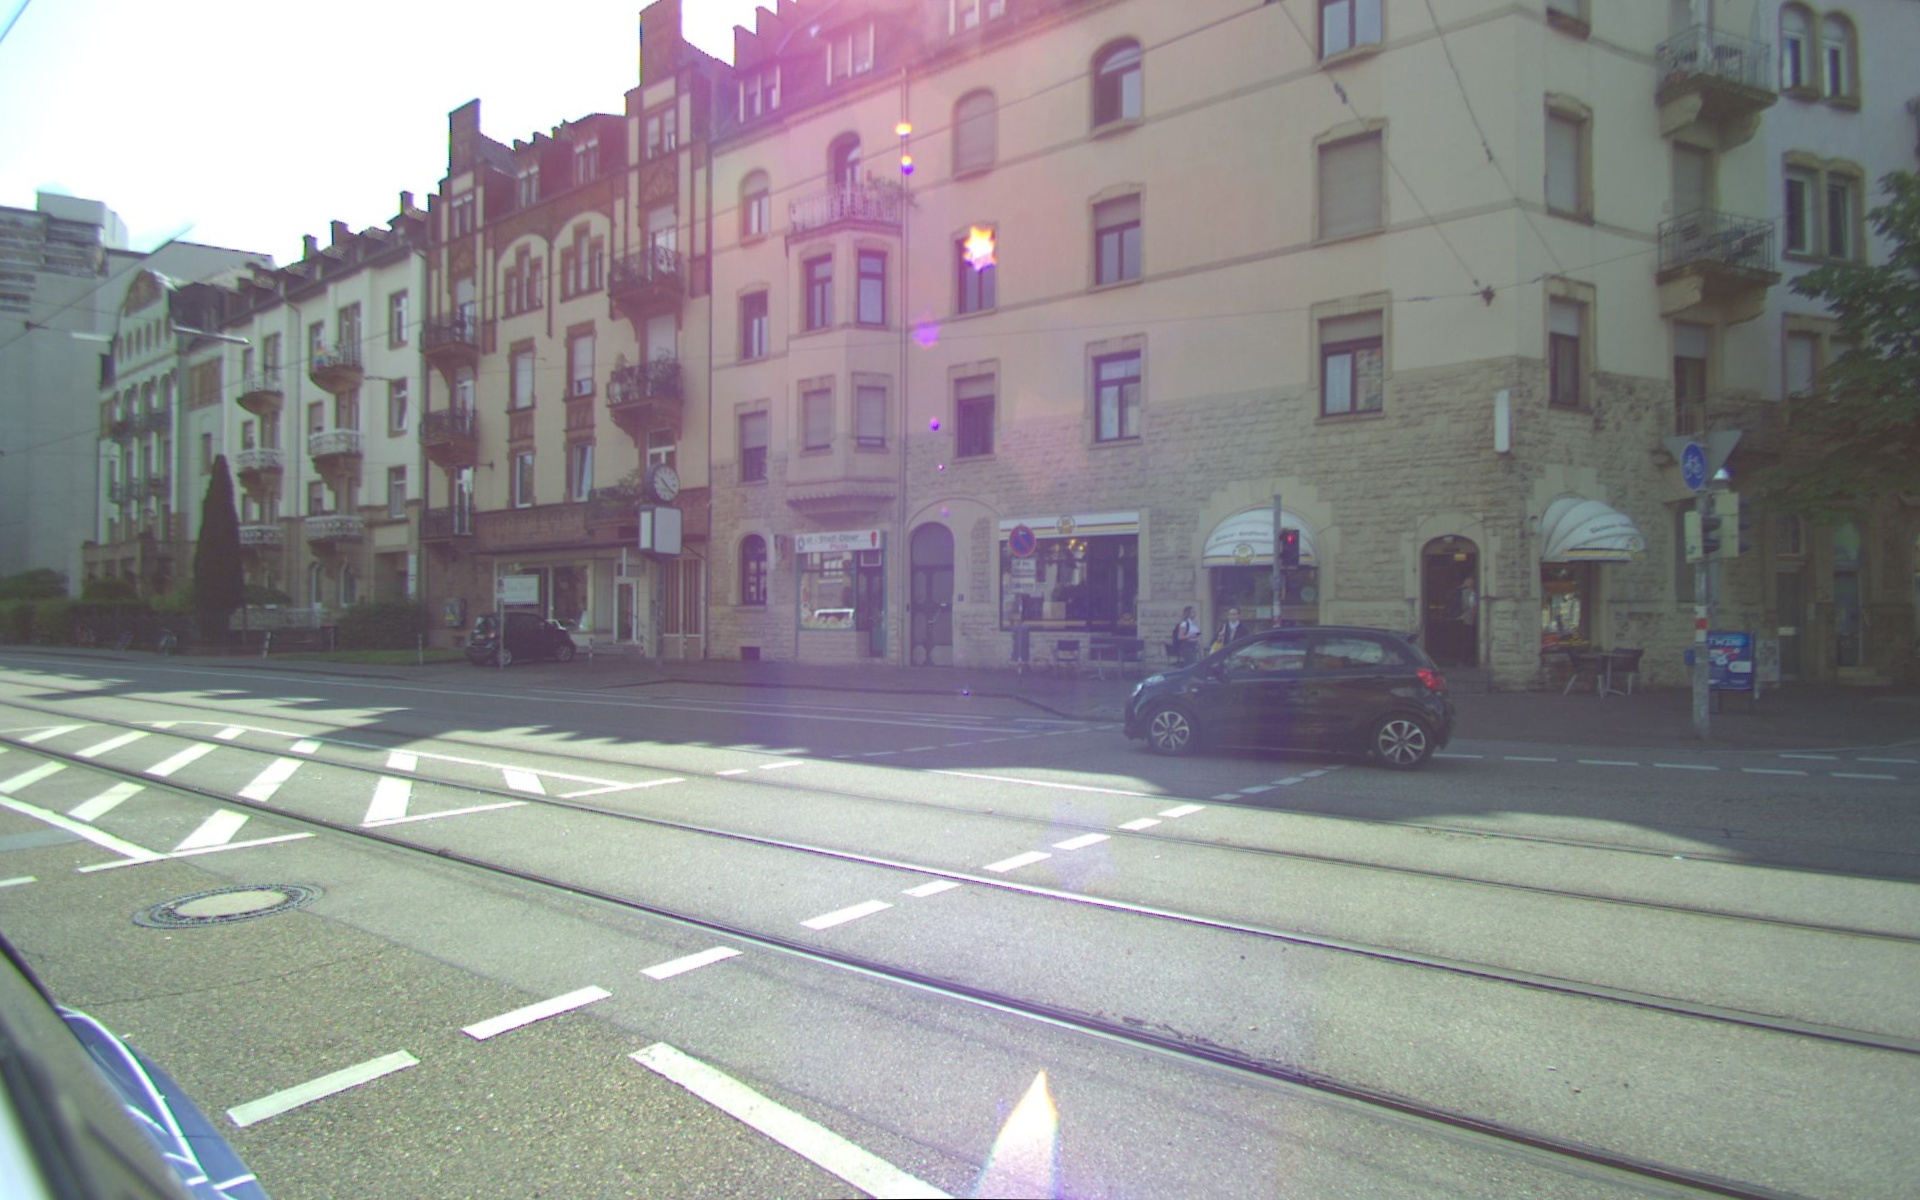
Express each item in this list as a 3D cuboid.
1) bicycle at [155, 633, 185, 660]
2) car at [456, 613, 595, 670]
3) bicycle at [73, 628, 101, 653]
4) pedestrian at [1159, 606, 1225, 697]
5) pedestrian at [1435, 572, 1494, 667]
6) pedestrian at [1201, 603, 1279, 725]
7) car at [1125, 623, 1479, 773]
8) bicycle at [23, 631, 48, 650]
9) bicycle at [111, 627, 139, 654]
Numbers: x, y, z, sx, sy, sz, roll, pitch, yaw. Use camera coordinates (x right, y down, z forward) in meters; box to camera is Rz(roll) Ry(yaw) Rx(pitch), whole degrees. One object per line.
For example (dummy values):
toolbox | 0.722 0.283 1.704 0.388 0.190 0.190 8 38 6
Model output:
bicycle | -29.431 1.712 37.691 2.067 0.913 0.518 1 0 43
car | -12.860 1.177 30.112 1.703 1.497 3.413 -1 0 36
bicycle | -37.610 1.729 43.597 1.871 0.993 0.580 0 -1 40
pedestrian | 4.139 0.903 18.051 0.959 1.553 0.689 -1 2 29
pedestrian | 9.266 0.361 18.593 0.855 1.685 0.812 -1 -2 34
pedestrian | 4.173 0.923 15.065 0.872 1.717 0.750 -1 2 34
car | 3.688 0.965 10.983 3.421 1.398 1.614 -1 -3 29
bicycle | -42.814 1.886 46.869 1.871 0.803 0.580 0 1 40
bicycle | -33.882 1.644 41.045 1.871 1.037 0.533 0 -1 40
